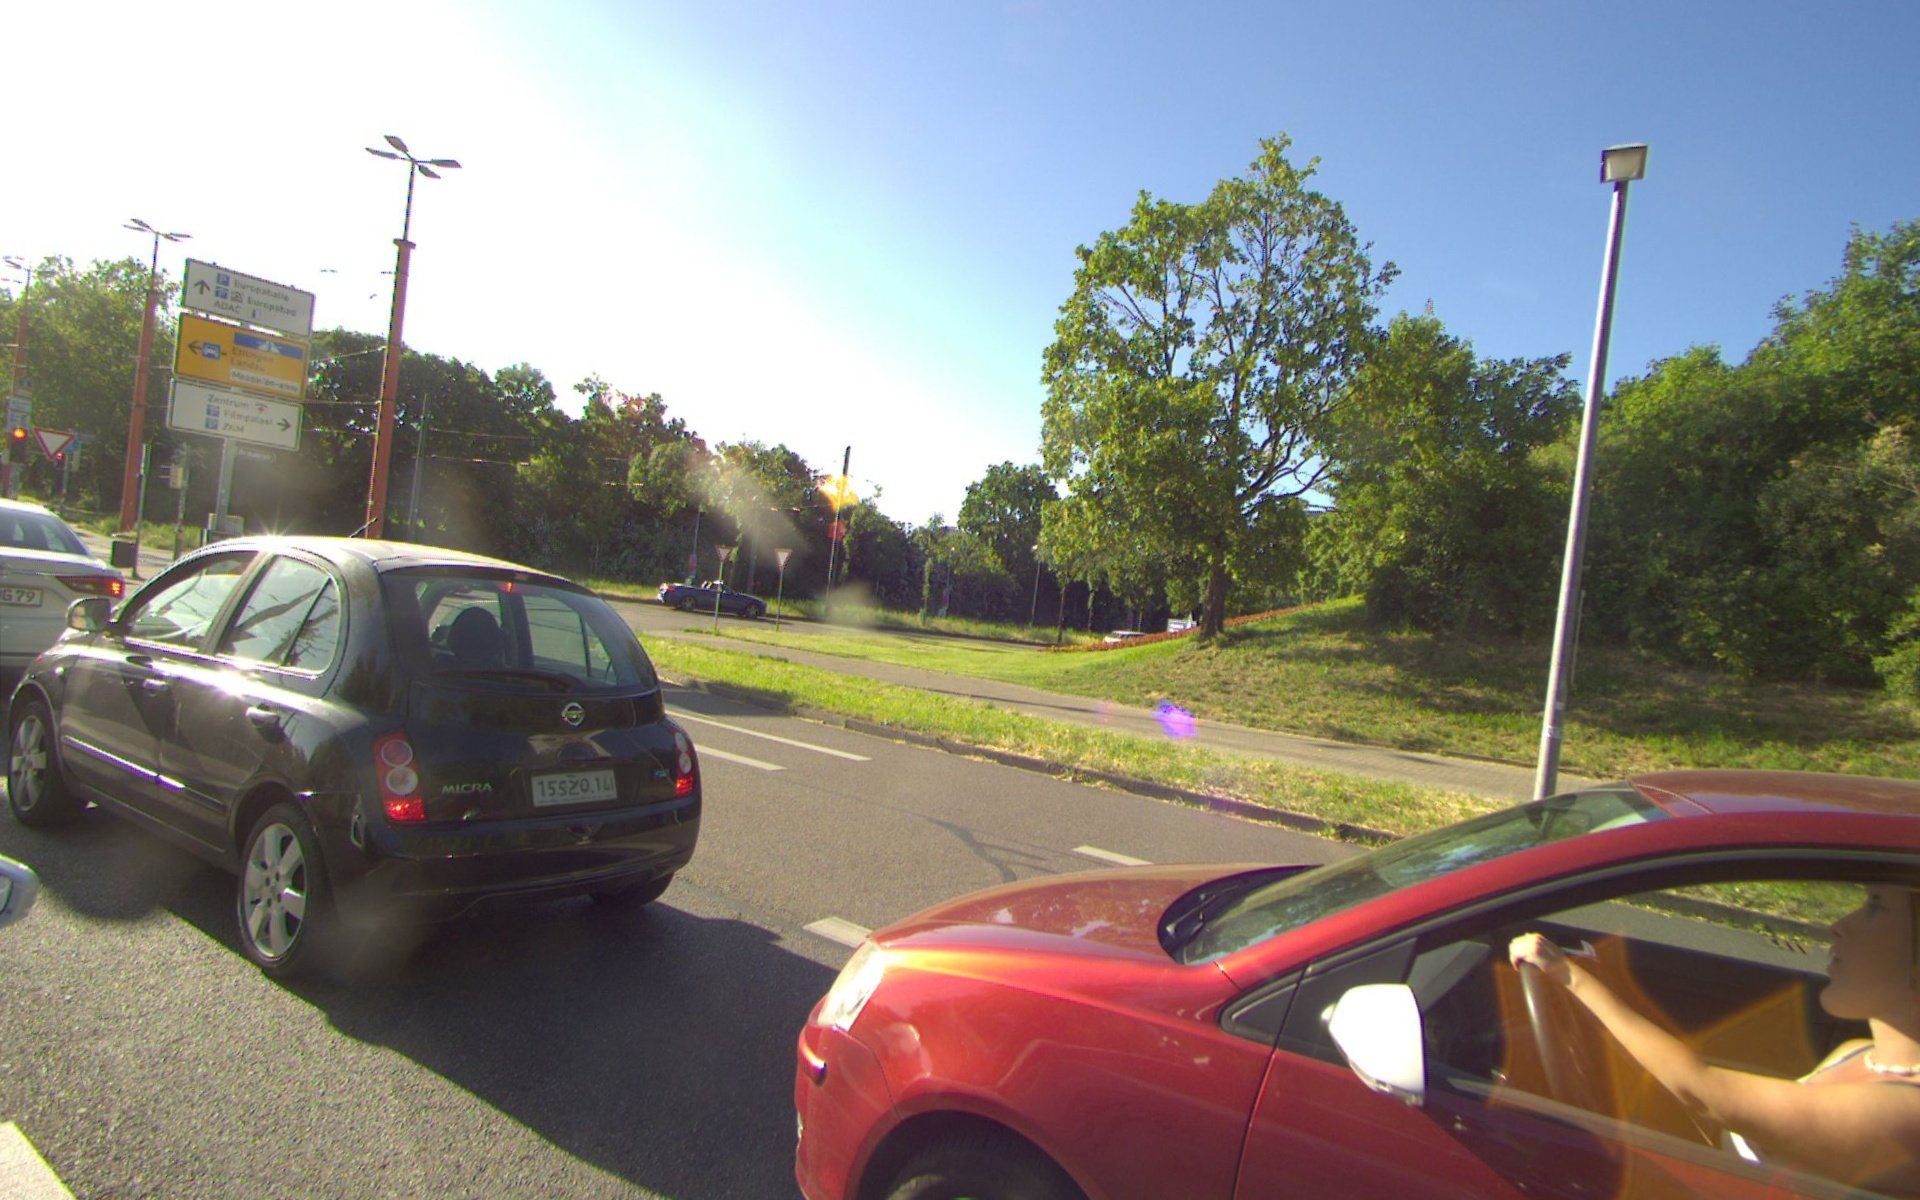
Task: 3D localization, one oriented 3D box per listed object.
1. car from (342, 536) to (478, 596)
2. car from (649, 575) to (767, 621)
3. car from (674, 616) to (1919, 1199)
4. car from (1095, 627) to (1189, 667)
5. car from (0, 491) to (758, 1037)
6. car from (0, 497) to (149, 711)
[{"bbox_3d":[-19.125,-1.161,35.050,3.958,1.512,1.757,8,-1,-31],"label":"car"},{"bbox_3d":[-10.960,-0.096,43.908,4.617,1.379,1.758,8,-1,-30],"label":"car"},{"bbox_3d":[1.369,0.989,1.896,3.634,1.434,1.624,7,-1,34],"label":"car"},{"bbox_3d":[9.518,2.461,52.516,4.717,1.512,1.758,8,-1,-29],"label":"car"},{"bbox_3d":[-2.823,0.463,4.627,3.457,1.524,1.558,7,0,32],"label":"car"},{"bbox_3d":[-8.348,-0.165,7.980,4.077,1.472,1.717,7,-1,33],"label":"car"}]
